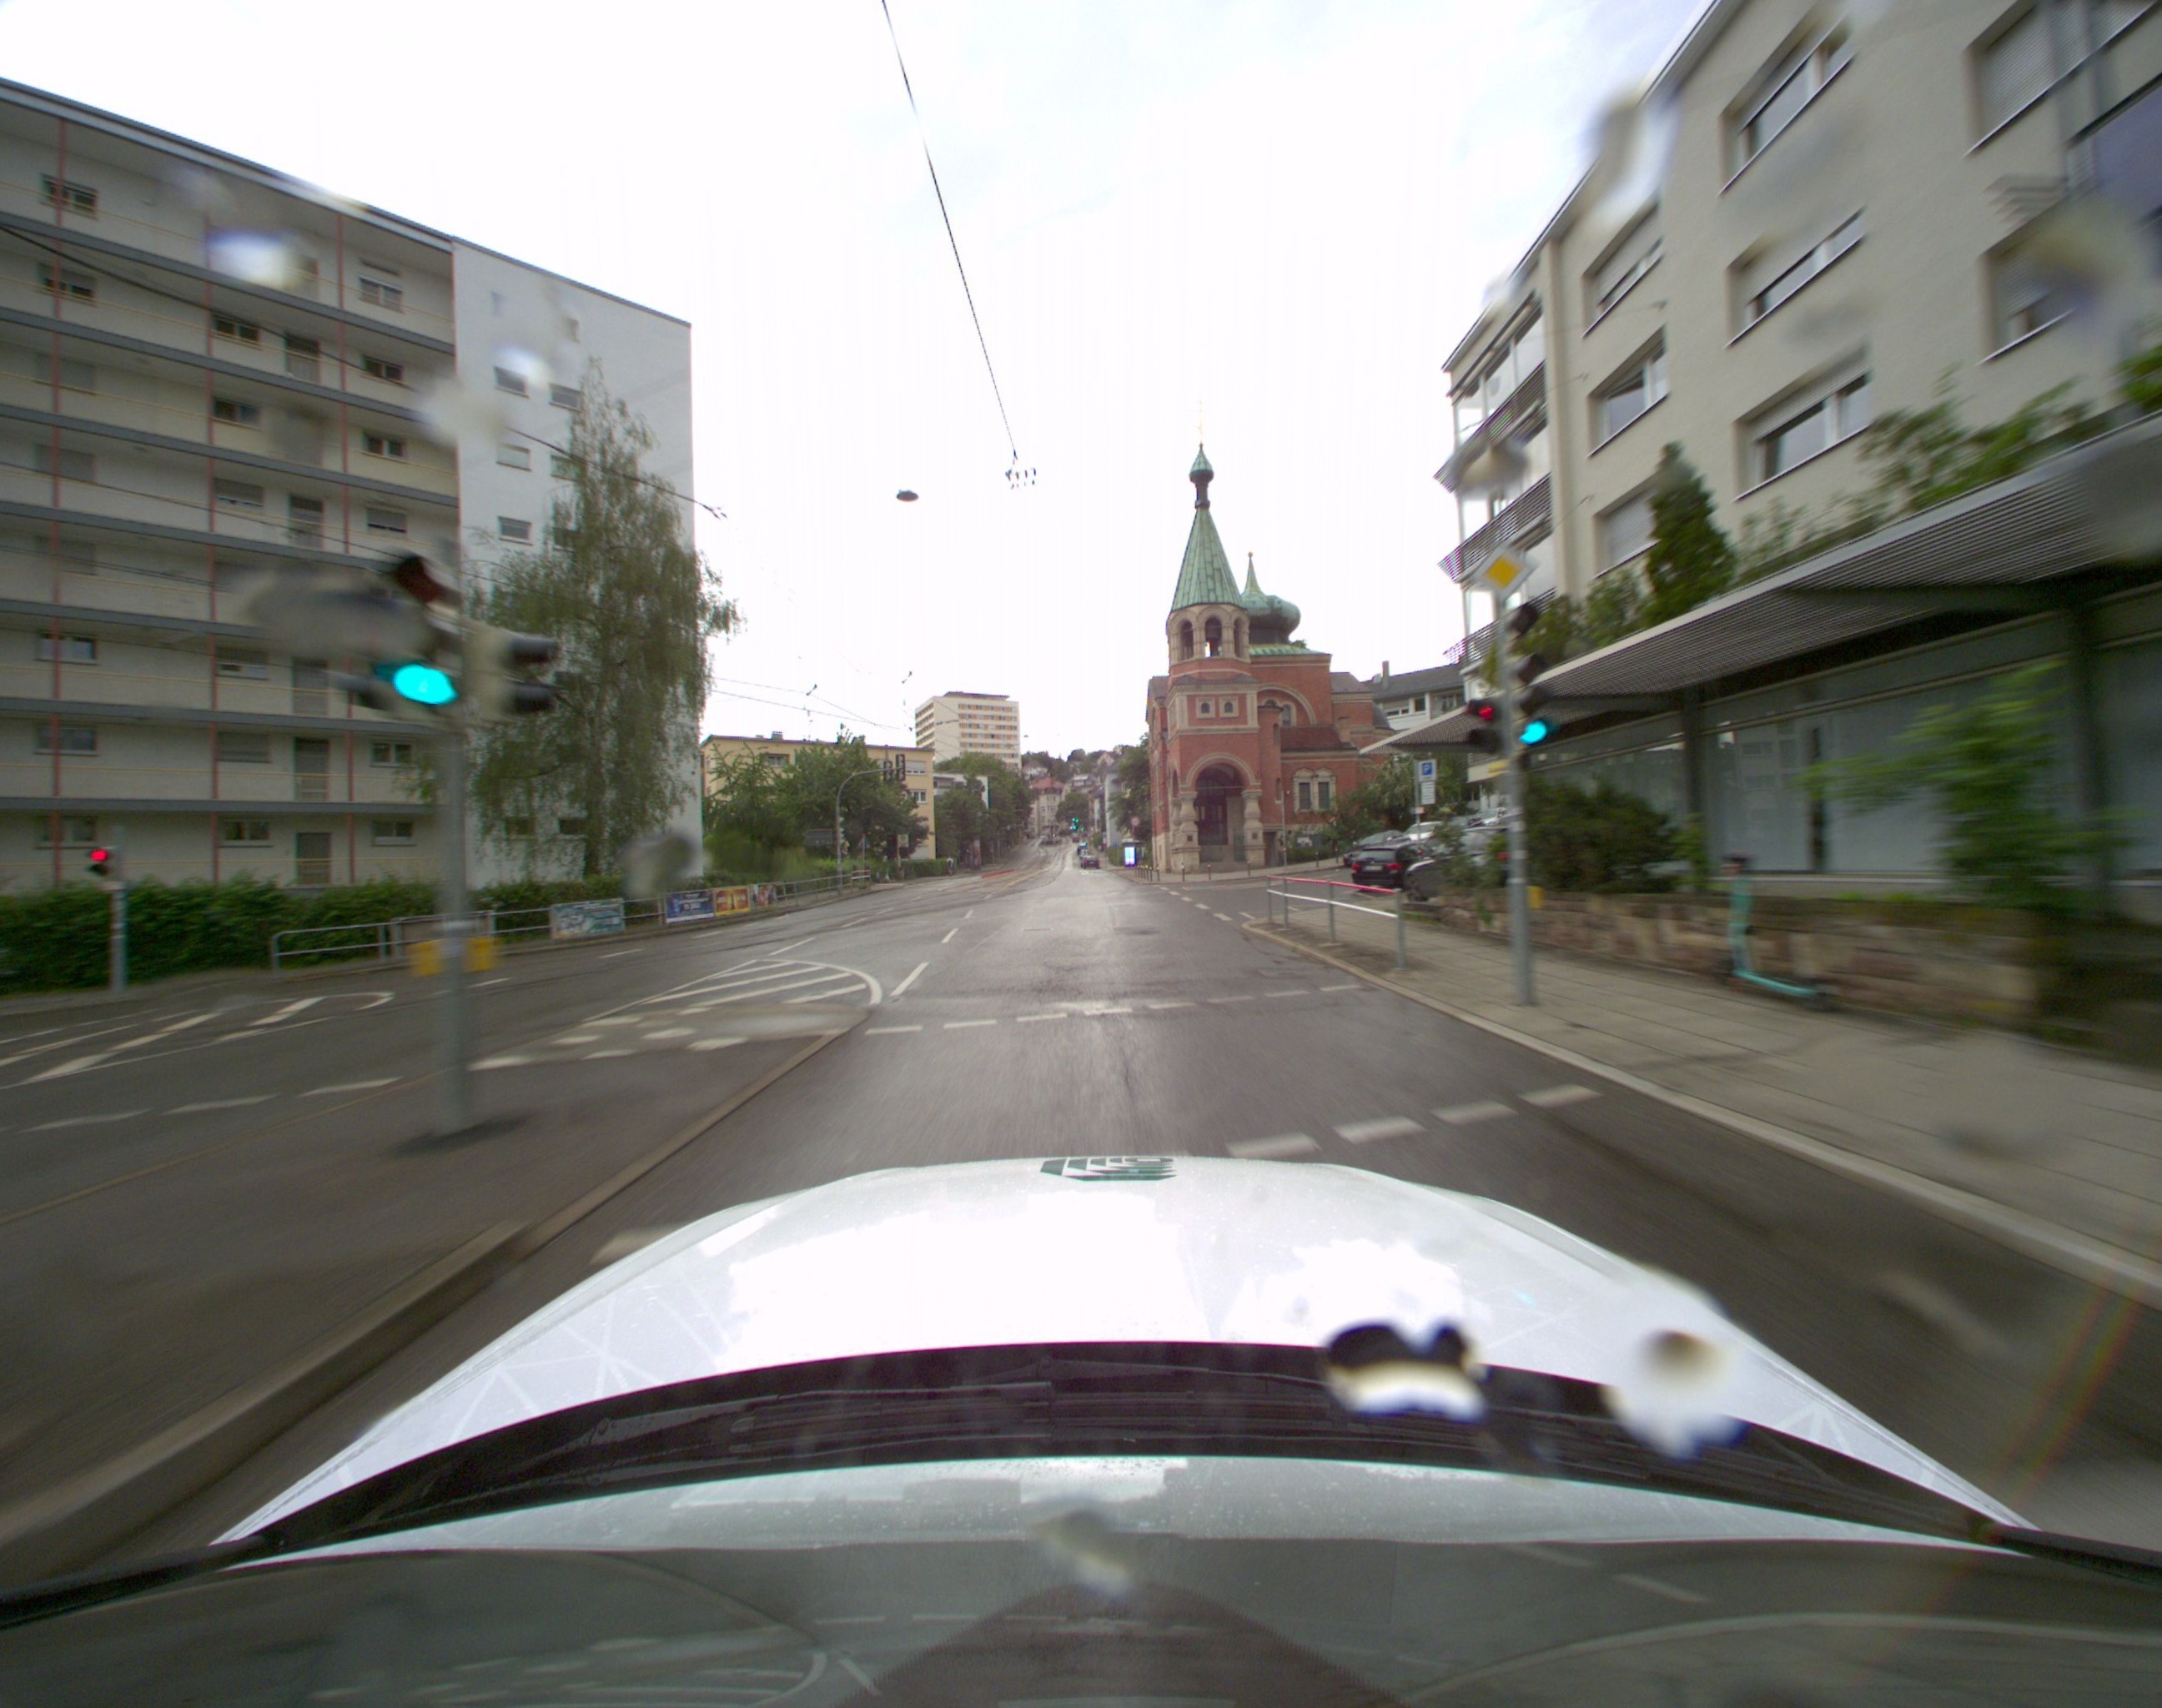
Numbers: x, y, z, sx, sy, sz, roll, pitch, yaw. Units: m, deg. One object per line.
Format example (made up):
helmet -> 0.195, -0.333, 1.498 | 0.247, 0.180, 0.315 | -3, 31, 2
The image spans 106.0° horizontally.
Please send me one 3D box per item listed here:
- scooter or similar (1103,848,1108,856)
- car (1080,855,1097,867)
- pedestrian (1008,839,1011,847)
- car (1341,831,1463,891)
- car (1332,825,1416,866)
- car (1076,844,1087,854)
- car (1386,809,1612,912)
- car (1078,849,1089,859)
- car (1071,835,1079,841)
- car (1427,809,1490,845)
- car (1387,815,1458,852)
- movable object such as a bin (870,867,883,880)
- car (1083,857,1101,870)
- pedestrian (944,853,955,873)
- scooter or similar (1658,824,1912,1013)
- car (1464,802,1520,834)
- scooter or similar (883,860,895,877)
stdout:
scooter or similar -> 3.983, -0.312, 132.588 | 0.572, 1.249, 1.613 | -1, 4, 4
car -> 0.969, 0.931, 106.701 | 1.935, 1.464, 4.202 | -1, 0, -3
pedestrian -> -14.449, -2.193, 164.726 | 0.582, 1.600, 0.868 | 0, 1, -5
car -> 10.156, 0.177, 25.580 | 1.977, 1.457, 4.477 | -2, 3, 43
car -> 13.934, -0.427, 38.596 | 1.918, 1.368, 4.507 | -6, 1, 45
car -> 0.085, -0.964, 148.232 | 1.901, 1.641, 4.687 | 0, 2, -2
car -> 7.578, 0.174, 15.364 | 1.848, 1.503, 4.447 | -5, -2, 0
car -> 0.431, -0.030, 131.819 | 1.700, 1.433, 4.099 | 0, 2, -2
car -> -1.657, -4.183, 212.572 | 1.798, 1.645, 3.995 | -1, 0, -4
car -> 21.216, -1.525, 45.769 | 1.918, 1.443, 3.654 | -9, 0, 45
car -> 17.692, -1.094, 42.145 | 1.922, 1.495, 3.954 | -5, 1, 45
movable object such as a bin -> -13.554, 1.288, 53.989 | 0.685, 0.882, 0.759 | -1, -2, -6
car -> 1.216, 1.062, 95.395 | 1.853, 1.487, 4.641 | -1, 0, -2
pedestrian -> -12.346, 0.878, 76.288 | 0.917, 1.846, 1.015 | 0, -2, -5
scooter or similar -> 5.726, 0.477, 6.776 | 0.533, 1.327, 1.659 | -7, -1, 0
car -> 25.223, -2.231, 49.939 | 1.918, 1.514, 3.870 | -4, 3, 45
scooter or similar -> -13.178, 1.000, 55.917 | 0.571, 1.184, 1.597 | -1, -2, -5
